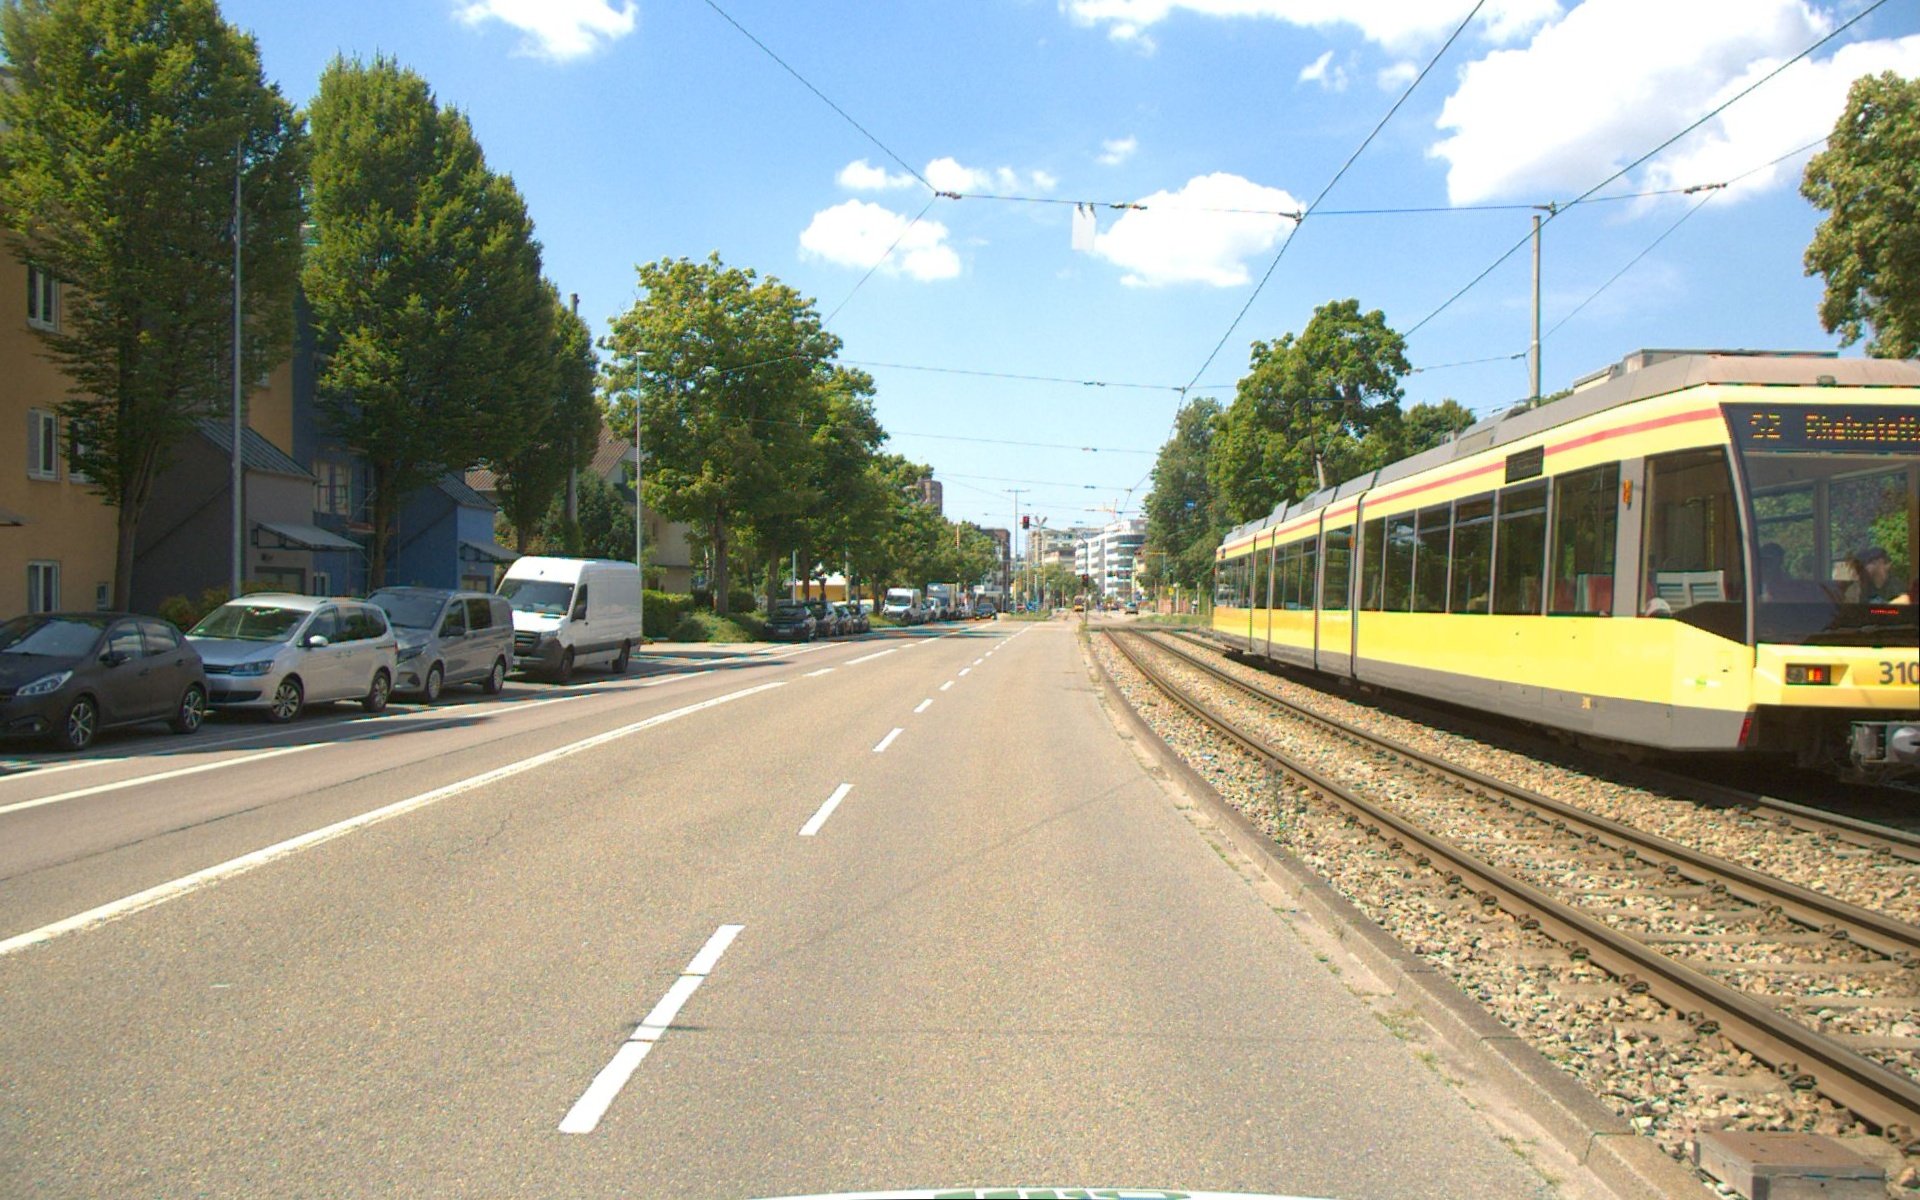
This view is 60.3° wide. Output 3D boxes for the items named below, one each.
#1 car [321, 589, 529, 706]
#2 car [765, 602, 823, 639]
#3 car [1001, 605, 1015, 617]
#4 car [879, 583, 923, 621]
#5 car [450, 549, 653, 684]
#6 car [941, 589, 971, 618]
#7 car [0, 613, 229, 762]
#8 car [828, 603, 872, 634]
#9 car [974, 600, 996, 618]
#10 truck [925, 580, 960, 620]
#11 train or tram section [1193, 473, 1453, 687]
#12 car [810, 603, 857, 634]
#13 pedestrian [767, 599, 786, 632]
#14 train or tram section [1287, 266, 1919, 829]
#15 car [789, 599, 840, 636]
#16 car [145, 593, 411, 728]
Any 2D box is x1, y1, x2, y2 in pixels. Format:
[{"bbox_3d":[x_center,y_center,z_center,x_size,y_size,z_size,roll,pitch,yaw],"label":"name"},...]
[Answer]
[{"bbox_3d":[-9.555,0.781,30.031,1.768,1.928,5.364,0,0,3],"label":"car"},{"bbox_3d":[-6.862,0.822,68.880,1.738,1.481,4.806,0,0,2],"label":"car"},{"bbox_3d":[6.256,1.442,215.132,1.643,1.422,4.006,-2,0,2],"label":"car"},{"bbox_3d":[-4.109,0.137,116.539,2.111,2.530,6.197,3,0,6],"label":"car"},{"bbox_3d":[-9.270,0.336,38.398,2.275,2.697,7.039,4,0,5],"label":"car"},{"bbox_3d":[-0.341,0.329,159.552,2.111,2.685,5.615,3,0,6],"label":"car"},{"bbox_3d":[-10.213,0.928,19.208,1.565,1.497,4.088,0,0,1],"label":"car"},{"bbox_3d":[-5.744,0.938,86.682,1.737,1.506,4.049,2,0,4],"label":"car"},{"bbox_3d":[2.127,0.740,141.603,1.738,1.485,4.196,-1,0,2],"label":"car"},{"bbox_3d":[-1.505,0.028,144.579,2.111,3.266,7.087,3,0,6],"label":"truck"},{"bbox_3d":[7.888,-0.365,39.562,2.882,3.756,20.292,1,0,3],"label":"train or tram section"},{"bbox_3d":[-6.230,0.898,81.869,1.738,1.397,4.698,2,0,2],"label":"car"},{"bbox_3d":[-10.308,0.886,92.984,0.954,1.855,0.795,0,0,1],"label":"pedestrian"},{"bbox_3d":[6.929,-0.355,20.265,2.882,3.756,18.394,1,0,2],"label":"train or tram section"},{"bbox_3d":[-6.694,0.788,76.531,1.738,1.632,4.639,1,0,2],"label":"car"},{"bbox_3d":[-9.851,0.805,24.366,1.680,1.783,4.905,0,0,3],"label":"car"}]
